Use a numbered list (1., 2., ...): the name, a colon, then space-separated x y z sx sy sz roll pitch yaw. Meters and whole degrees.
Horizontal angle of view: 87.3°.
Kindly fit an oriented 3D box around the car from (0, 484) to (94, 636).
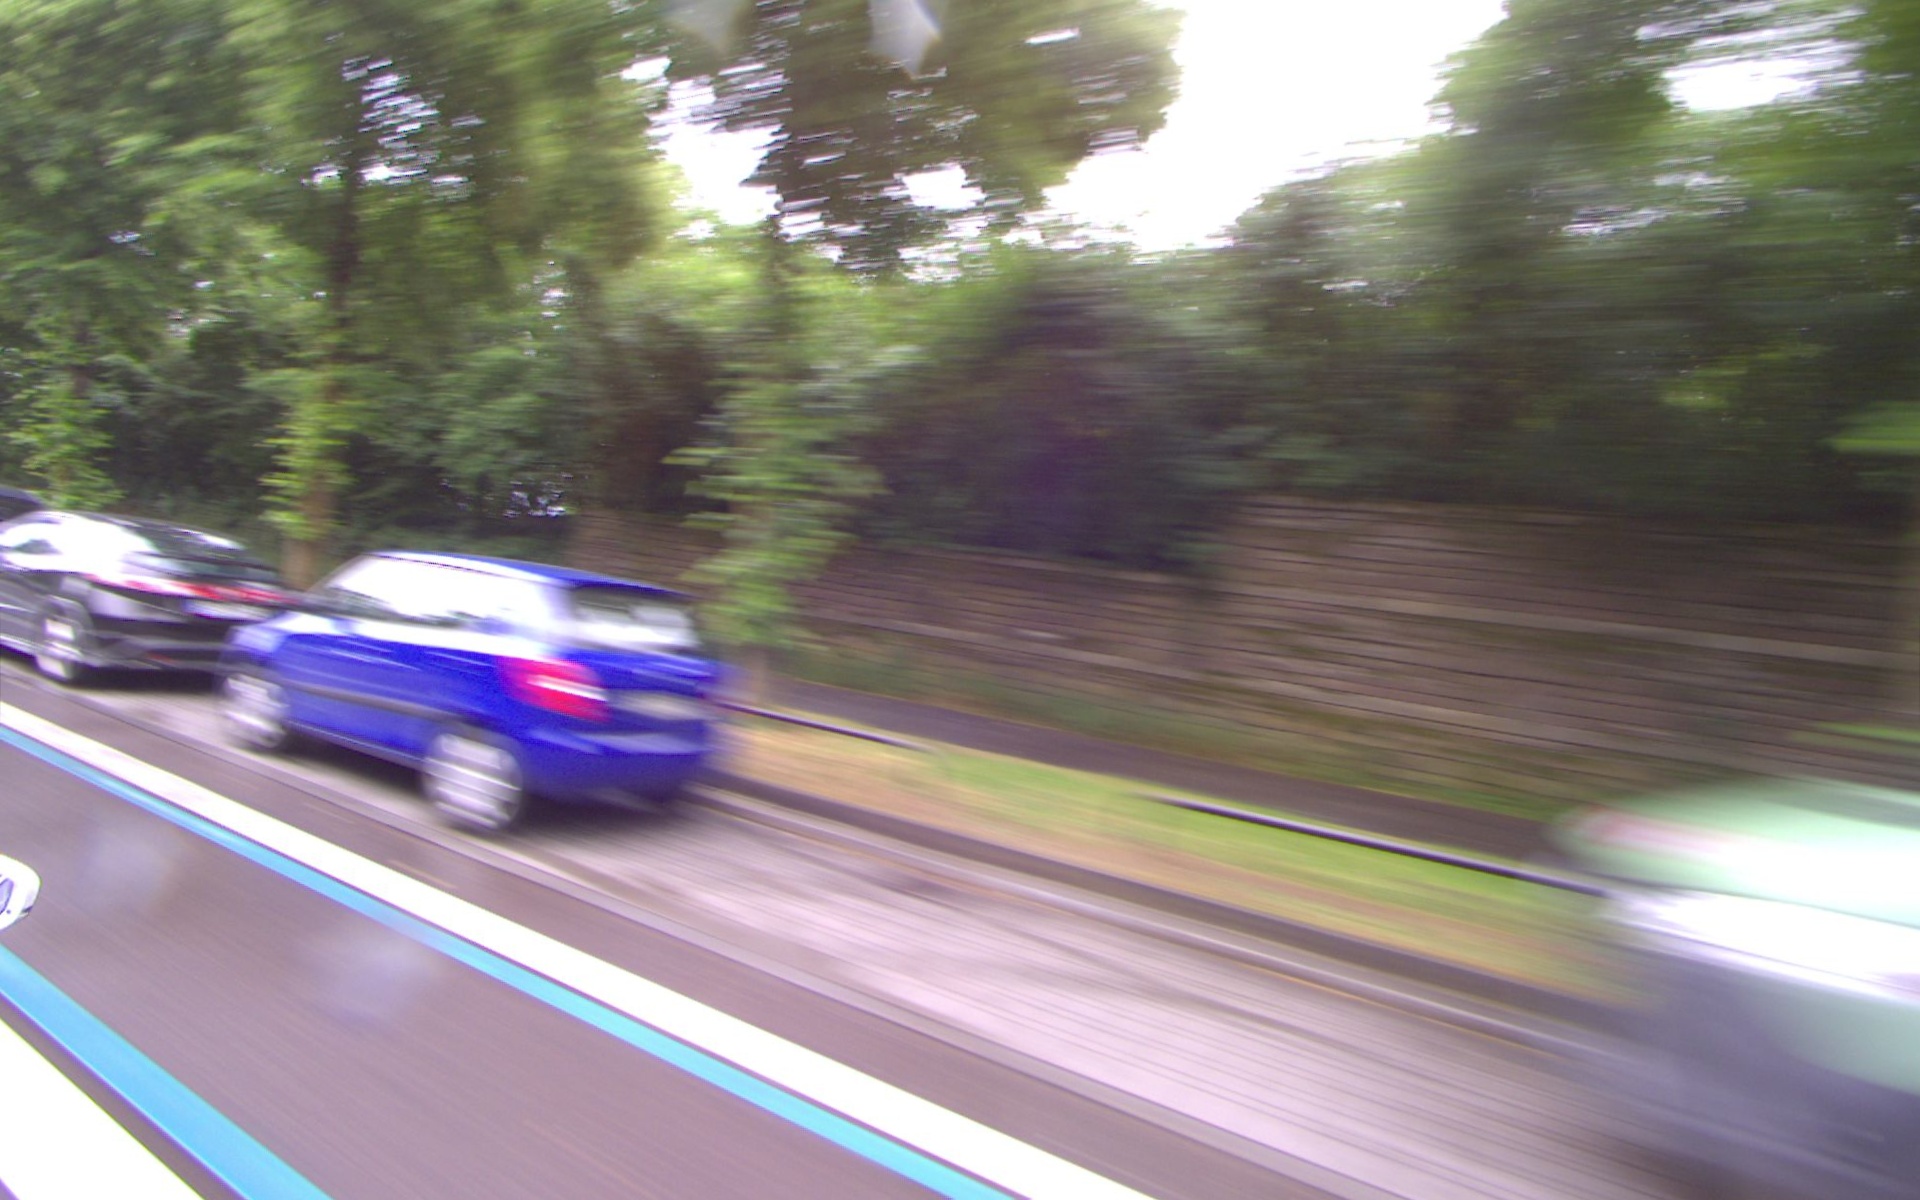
1. car: -12.451 -0.704 12.018 4.423 1.608 1.760 7 -2 31

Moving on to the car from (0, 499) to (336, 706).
1. car: -8.062 -0.058 9.550 4.074 1.472 1.691 7 -2 28

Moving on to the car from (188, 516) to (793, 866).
1. car: -3.222 0.467 6.773 3.770 1.531 1.690 7 -2 30

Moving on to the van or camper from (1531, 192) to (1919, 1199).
1. van or camper: 5.087 0.826 1.791 6.783 2.761 2.047 7 -1 30
